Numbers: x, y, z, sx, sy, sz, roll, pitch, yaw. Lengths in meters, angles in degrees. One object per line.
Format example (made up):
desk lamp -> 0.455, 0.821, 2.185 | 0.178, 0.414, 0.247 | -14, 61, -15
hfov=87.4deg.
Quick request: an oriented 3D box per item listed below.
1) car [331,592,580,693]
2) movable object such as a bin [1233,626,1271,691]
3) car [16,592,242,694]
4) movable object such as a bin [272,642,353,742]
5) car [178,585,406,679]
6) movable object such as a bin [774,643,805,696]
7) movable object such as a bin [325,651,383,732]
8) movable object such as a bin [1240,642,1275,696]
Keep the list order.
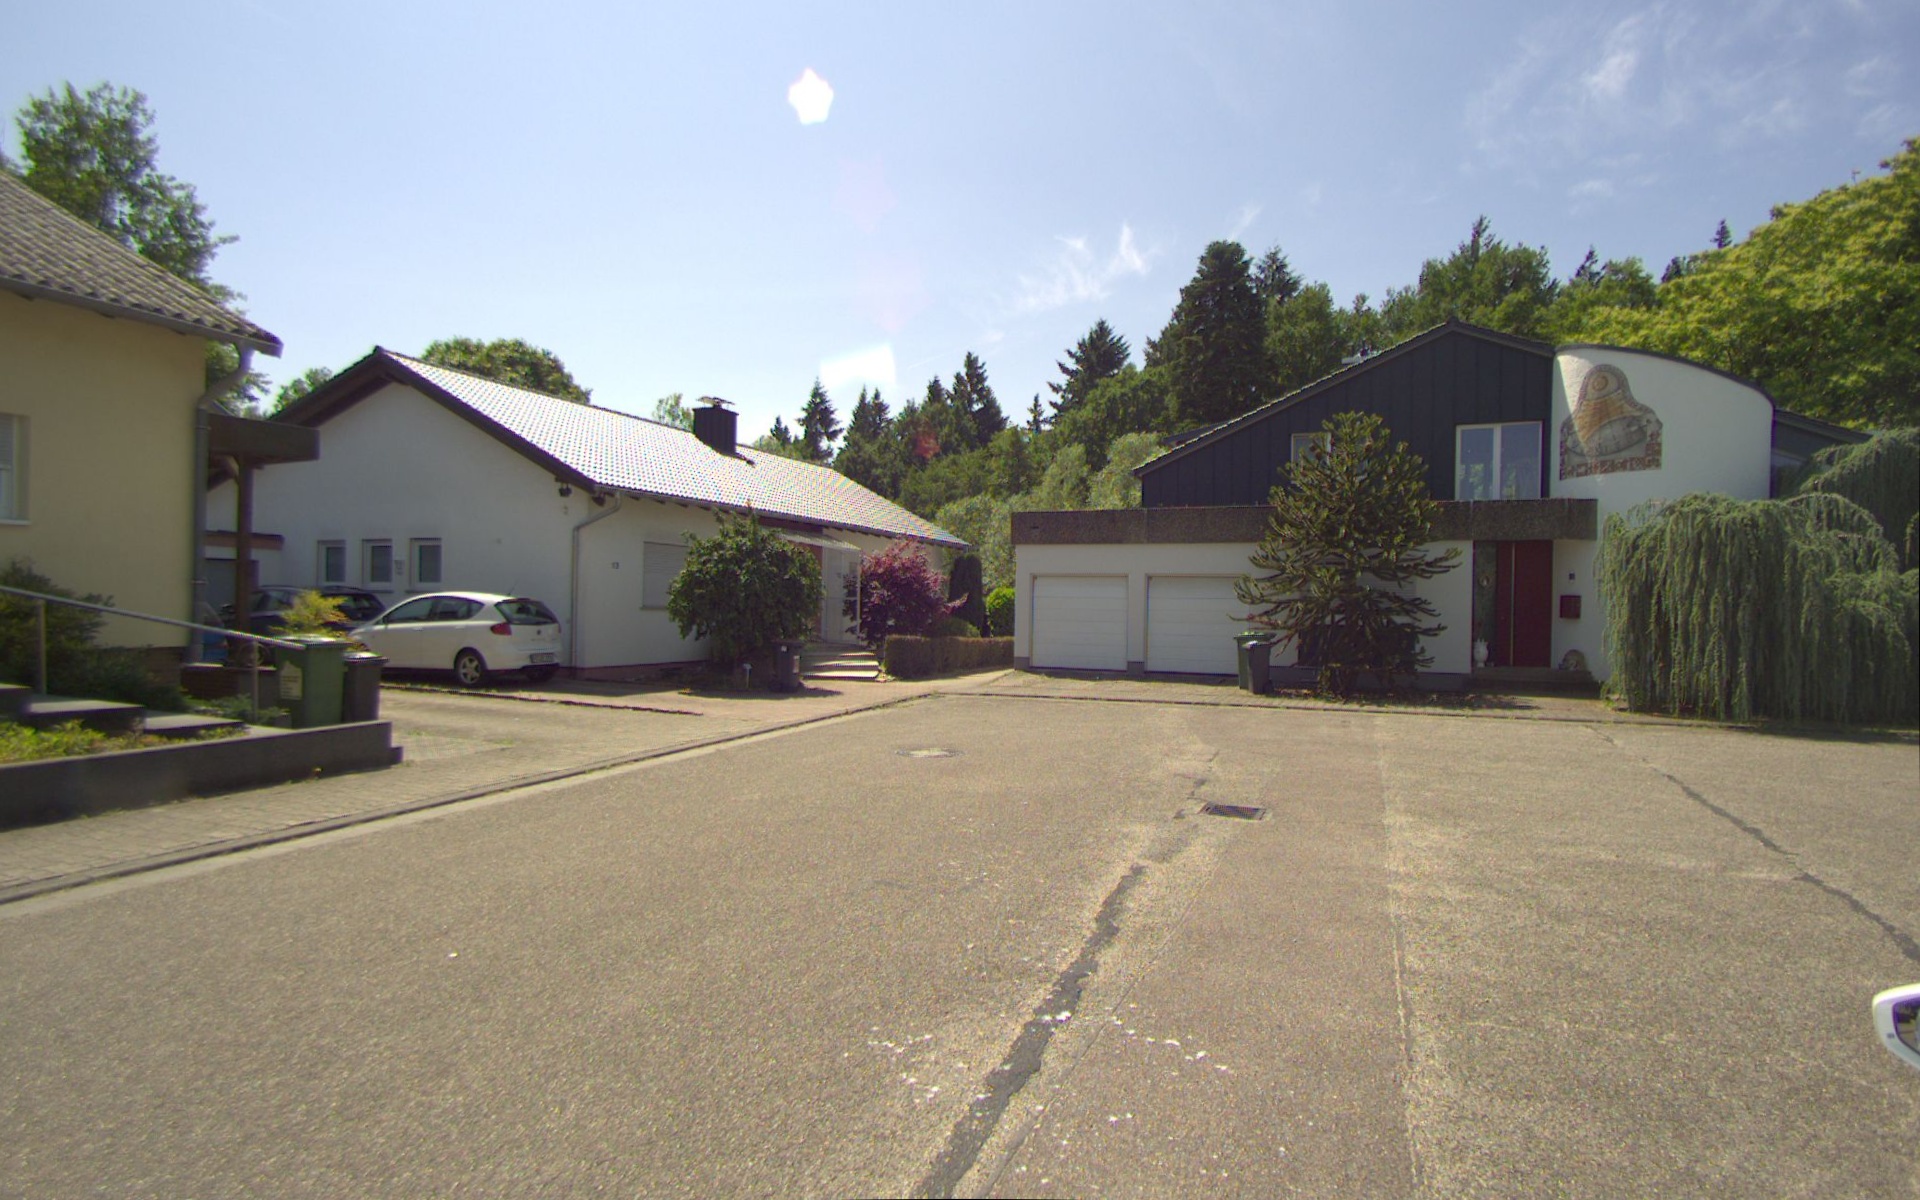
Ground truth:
car -> -8.960, 0.706, 17.876 | 3.921, 1.589, 1.752 | 1, 0, 20
movable object such as a bin -> 5.601, 1.107, 19.258 | 0.622, 1.219, 0.551 | 1, -1, 24
car -> -13.918, 0.672, 16.839 | 3.191, 1.474, 1.619 | 2, 0, 24
movable object such as a bin -> -7.279, 1.017, 11.303 | 0.482, 1.055, 0.593 | 1, 0, 16
car -> -13.148, 0.578, 19.787 | 3.924, 1.629, 1.928 | 1, 0, 24
movable object such as a bin -> -2.981, 1.213, 17.607 | 0.383, 0.903, 0.375 | 1, 0, 23
movable object such as a bin -> -7.111, 1.062, 11.791 | 0.418, 0.903, 0.408 | 1, 0, 16
movable object such as a bin -> 5.477, 1.265, 18.480 | 0.514, 0.962, 0.389 | 1, -1, -3
